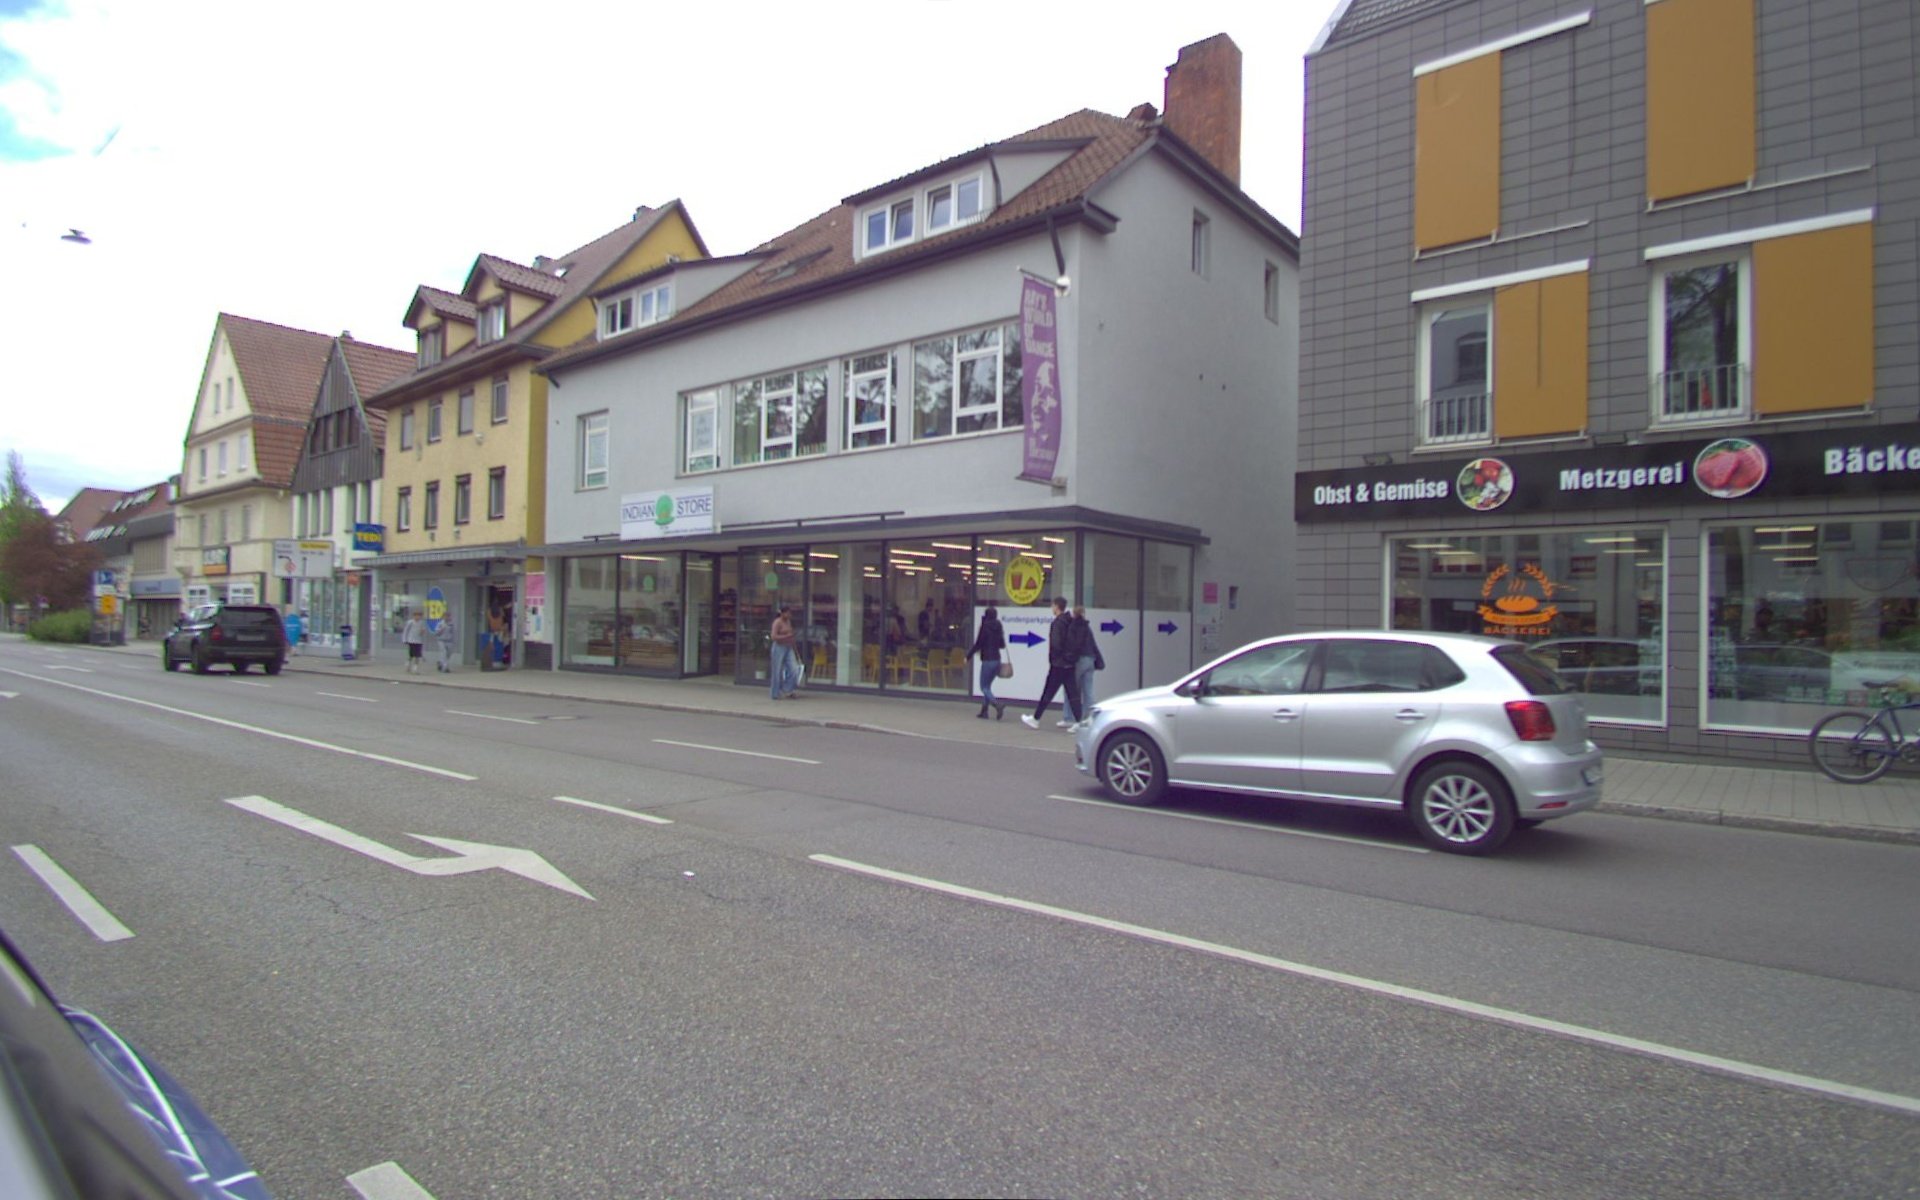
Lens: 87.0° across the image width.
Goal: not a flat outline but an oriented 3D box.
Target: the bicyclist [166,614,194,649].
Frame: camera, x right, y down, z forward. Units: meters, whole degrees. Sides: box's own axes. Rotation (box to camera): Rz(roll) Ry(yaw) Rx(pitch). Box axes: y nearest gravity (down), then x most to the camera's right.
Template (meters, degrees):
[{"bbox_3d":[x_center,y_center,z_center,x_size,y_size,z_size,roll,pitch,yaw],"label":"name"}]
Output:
[{"bbox_3d":[-32.838,1.327,42.627,0.751,1.434,0.763,-1,-2,40],"label":"bicyclist"}]

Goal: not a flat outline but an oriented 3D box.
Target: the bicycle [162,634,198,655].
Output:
[{"bbox_3d":[-32.843,1.847,42.603,2.238,0.829,0.763,-1,-2,40],"label":"bicycle"}]

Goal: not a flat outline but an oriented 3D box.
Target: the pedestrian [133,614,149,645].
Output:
[{"bbox_3d":[-51.313,1.830,63.412,0.678,1.917,0.665,-1,-2,40],"label":"pedestrian"}]

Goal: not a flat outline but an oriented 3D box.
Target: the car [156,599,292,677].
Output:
[{"bbox_3d":[-20.460,1.049,28.063,4.766,1.984,1.903,-1,-3,40],"label":"car"}]

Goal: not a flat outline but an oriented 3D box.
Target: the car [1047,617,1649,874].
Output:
[{"bbox_3d":[2.820,0.889,7.864,4.033,1.459,1.740,0,-2,41],"label":"car"}]

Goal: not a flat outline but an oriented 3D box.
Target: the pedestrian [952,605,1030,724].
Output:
[{"bbox_3d":[0.467,0.935,15.147,0.870,1.711,0.795,-1,-2,42],"label":"pedestrian"}]

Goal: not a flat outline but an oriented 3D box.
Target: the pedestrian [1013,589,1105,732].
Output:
[{"bbox_3d":[1.338,0.792,13.696,1.028,1.853,0.699,-1,-2,42],"label":"pedestrian"}]

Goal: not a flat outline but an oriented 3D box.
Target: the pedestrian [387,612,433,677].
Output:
[{"bbox_3d":[-14.590,1.161,26.838,0.920,1.674,0.801,-1,-2,41],"label":"pedestrian"}]

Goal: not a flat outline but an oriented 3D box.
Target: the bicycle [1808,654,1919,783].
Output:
[{"bbox_3d":[8.814,1.062,9.025,1.901,1.109,0.566,-1,-2,41],"label":"bicycle"}]

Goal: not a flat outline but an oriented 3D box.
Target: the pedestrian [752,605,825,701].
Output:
[{"bbox_3d":[-3.116,0.936,18.388,0.871,1.679,0.988,-1,-2,41],"label":"pedestrian"}]

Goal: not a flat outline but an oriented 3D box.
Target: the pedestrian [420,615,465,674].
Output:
[{"bbox_3d":[-14.094,1.198,27.565,0.920,1.595,0.801,-1,-2,41],"label":"pedestrian"}]

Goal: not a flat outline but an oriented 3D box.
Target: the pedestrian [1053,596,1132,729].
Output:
[{"bbox_3d":[1.864,0.860,14.265,0.870,1.795,0.699,-1,-2,42],"label":"pedestrian"}]
